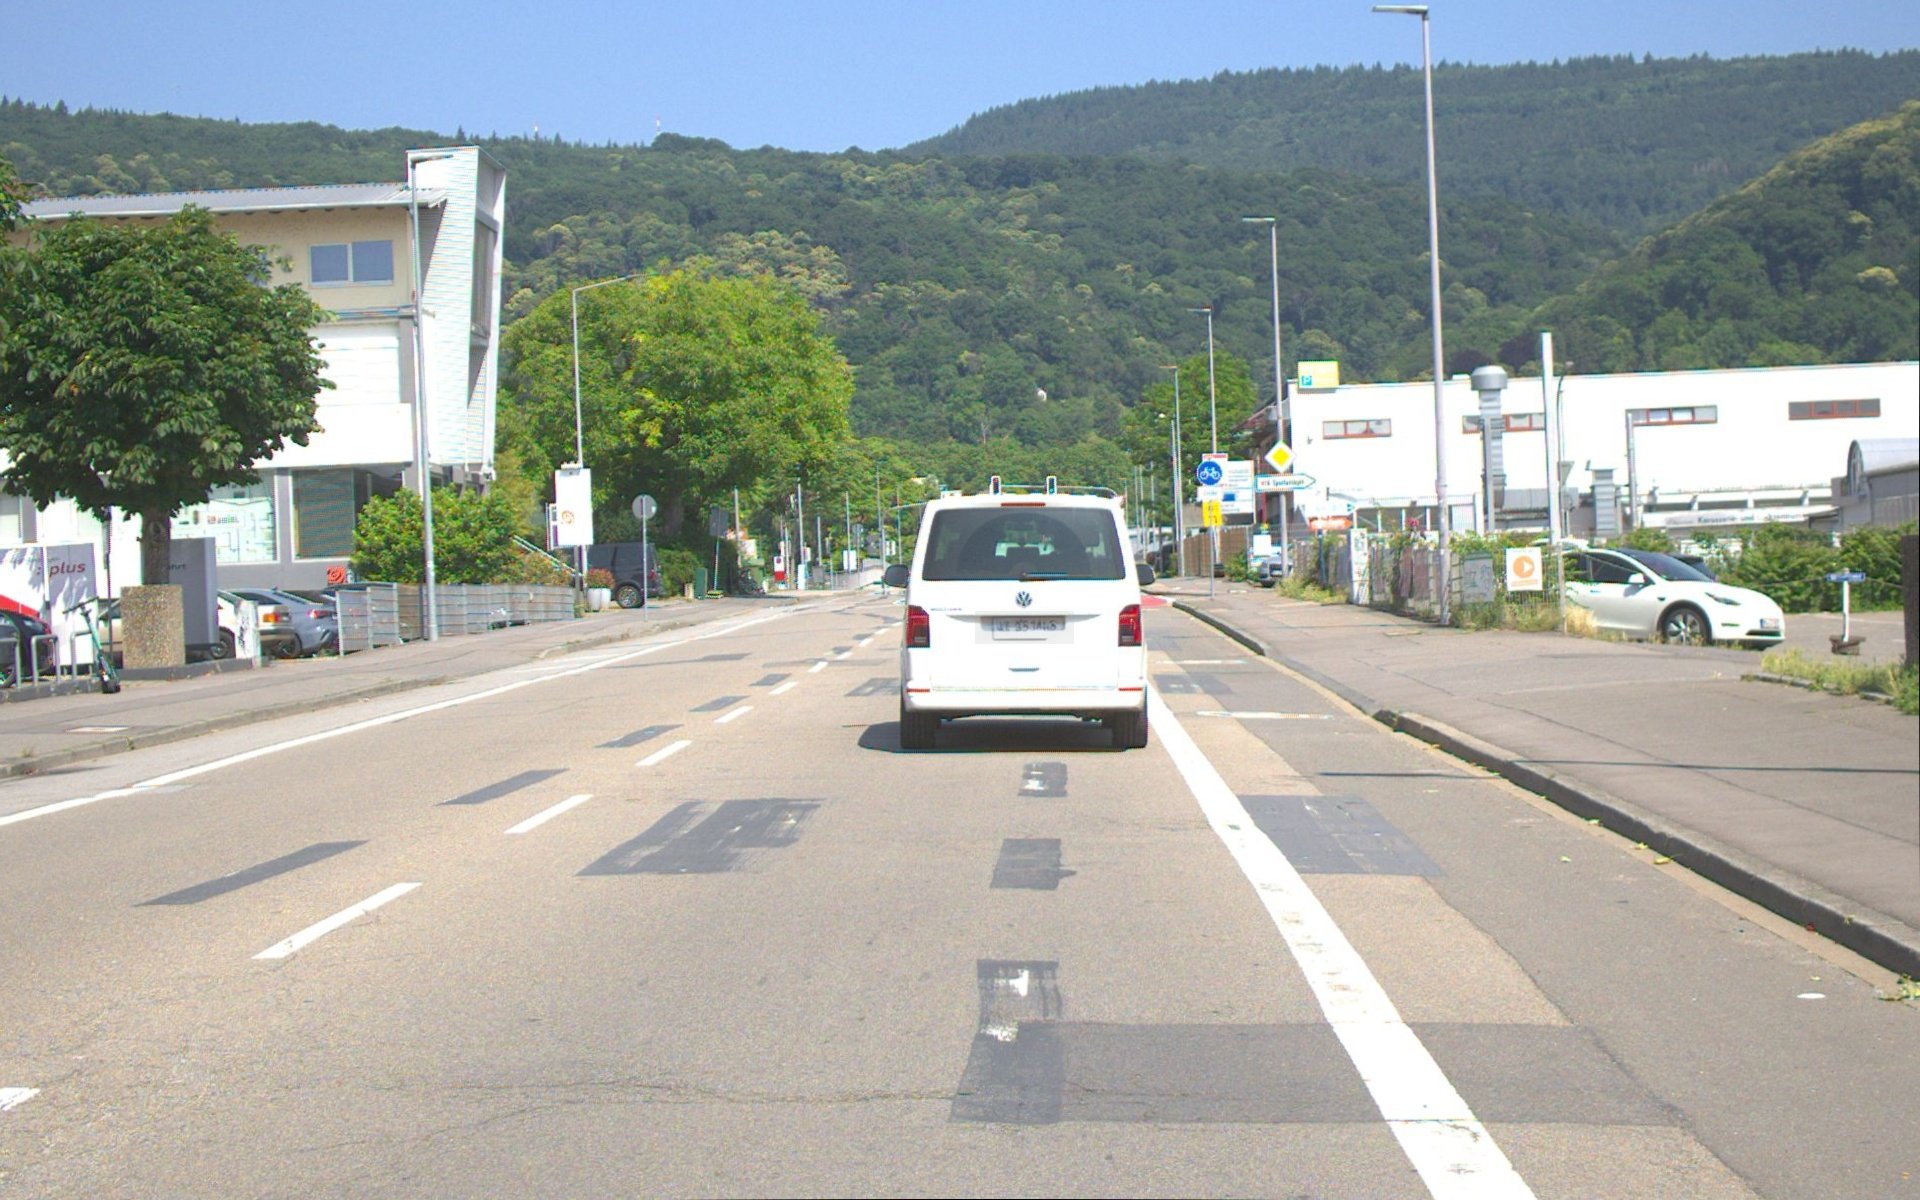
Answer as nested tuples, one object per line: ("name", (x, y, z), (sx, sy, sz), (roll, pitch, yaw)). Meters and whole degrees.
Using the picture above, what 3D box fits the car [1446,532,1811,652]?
("car", (9.947, -0.083, 51.441), (5.044, 1.616, 2.018), (-1, -4, 44))

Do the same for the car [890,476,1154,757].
("car", (0.456, 0.096, 27.647), (1.934, 2.052, 4.544), (0, 1, 0))

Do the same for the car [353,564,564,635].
("car", (-12.078, -0.023, 83.026), (4.739, 1.476, 2.048), (-2, 1, 0))

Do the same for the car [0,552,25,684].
("car", (-14.436, 0.244, 43.829), (4.467, 1.702, 1.910), (-1, 0, -34))

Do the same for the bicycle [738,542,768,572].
("bicycle", (-7.875, -1.620, 130.734), (1.026, 1.114, 2.766), (0, 1, -1))

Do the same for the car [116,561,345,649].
("car", (-13.253, 0.100, 62.641), (3.889, 1.439, 1.823), (2, -2, -6))

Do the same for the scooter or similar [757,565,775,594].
("scooter or similar", (-7.584, -0.807, 134.329), (0.646, 1.124, 1.623), (1, 1, -5))

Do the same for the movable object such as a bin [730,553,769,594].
("movable object such as a bin", (-8.577, -1.085, 140.237), (1.448, 1.585, 1.307), (-3, 1, -7))

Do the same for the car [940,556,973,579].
("car", (-0.210, -2.149, 227.199), (1.993, 1.365, 4.326), (-3, 1, 2))

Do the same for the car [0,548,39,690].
("car", (-13.542, 0.285, 40.978), (4.566, 1.691, 1.859), (-2, 1, -34))

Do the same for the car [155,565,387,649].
("car", (-13.001, 0.145, 65.042), (3.987, 1.438, 1.859), (2, -2, 0))

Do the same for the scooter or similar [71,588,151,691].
("scooter or similar", (-10.674, 0.481, 43.270), (0.743, 1.243, 1.491), (-2, 1, -6))

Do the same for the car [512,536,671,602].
("car", (-10.995, -0.937, 102.869), (4.565, 1.859, 2.093), (-1, 1, -3))

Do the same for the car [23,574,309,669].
("car", (-13.884, 0.364, 60.277), (4.524, 1.452, 1.900), (-2, 1, 0))

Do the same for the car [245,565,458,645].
("car", (-13.248, 0.095, 75.021), (4.296, 1.553, 1.995), (-2, 1, -2))

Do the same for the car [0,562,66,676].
("car", (-14.634, 0.298, 47.607), (3.987, 1.545, 1.859), (-2, 1, -29))
